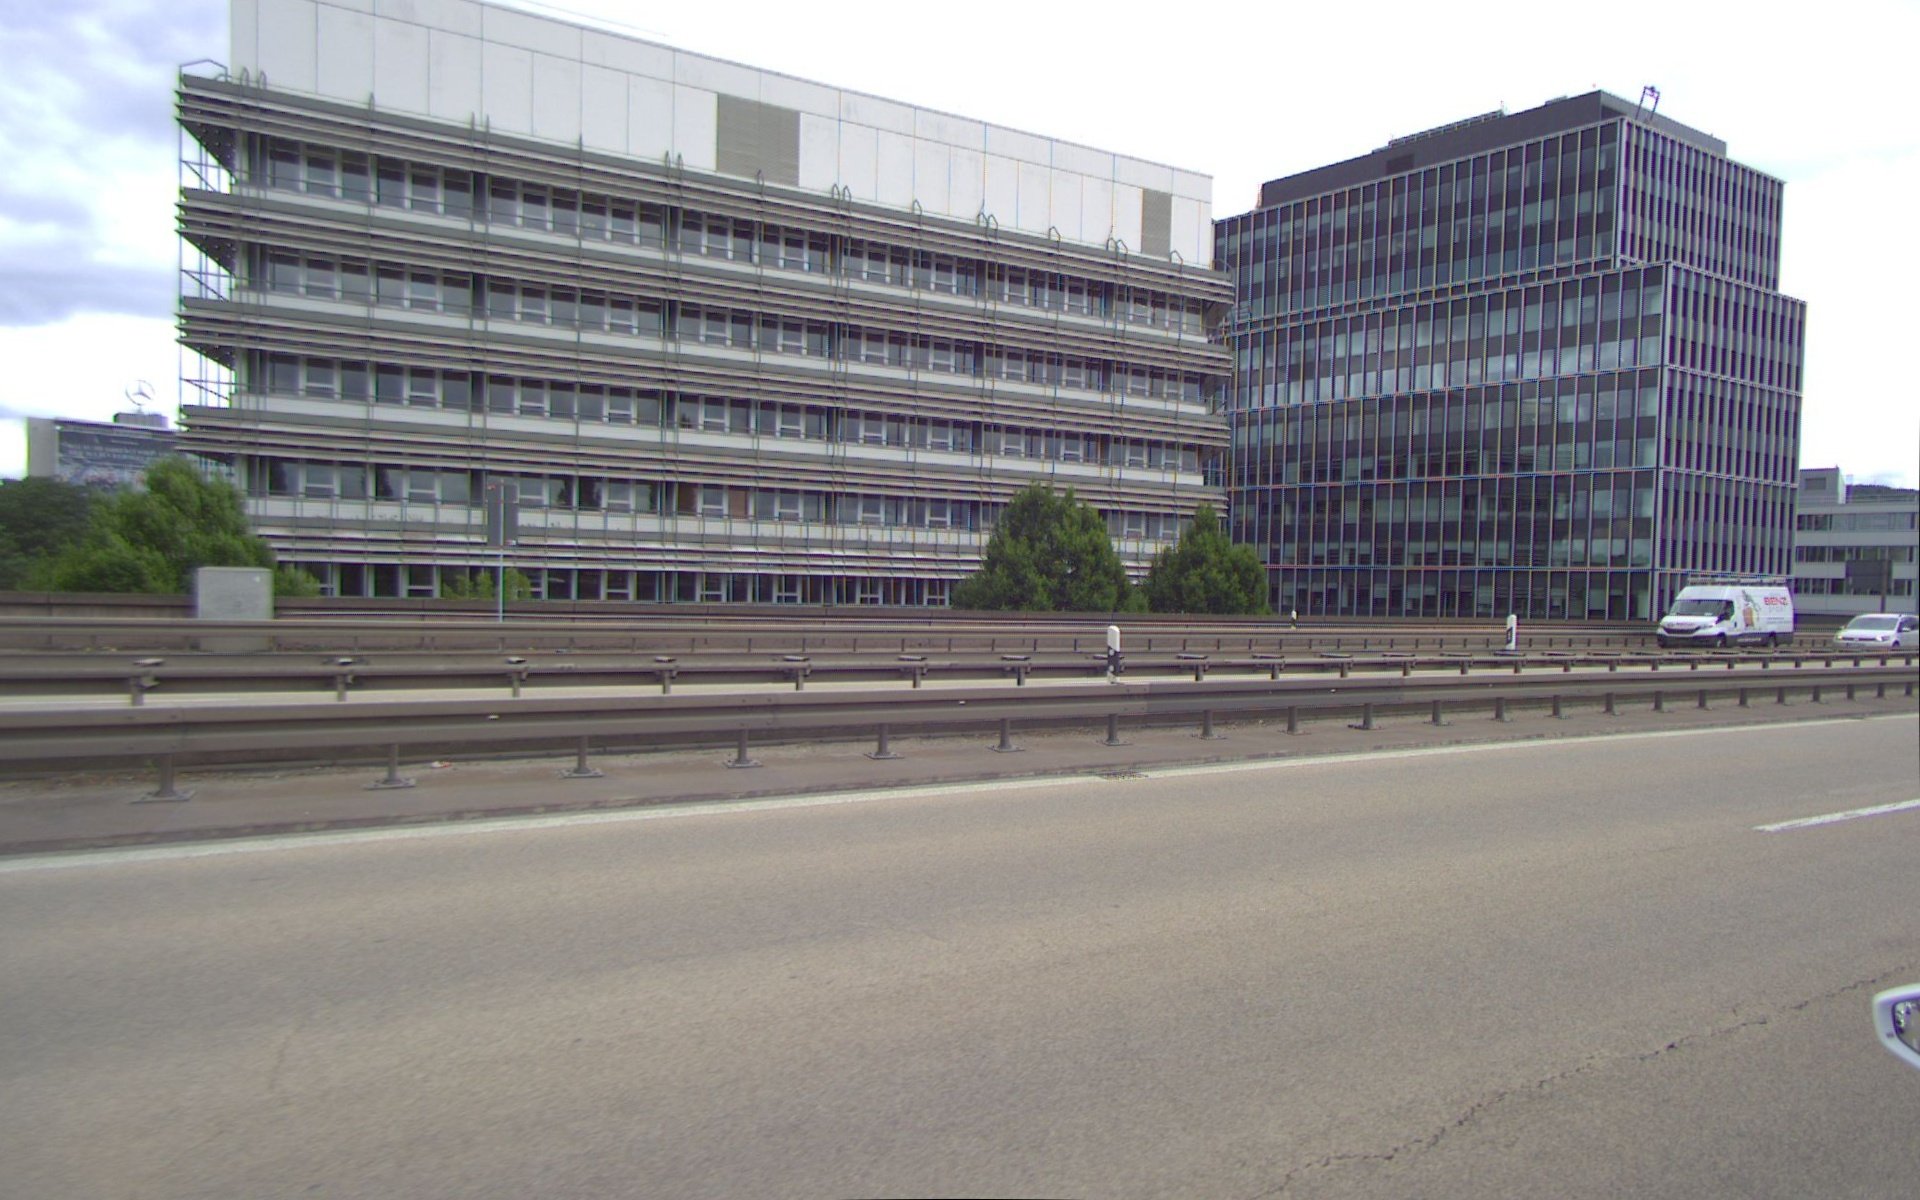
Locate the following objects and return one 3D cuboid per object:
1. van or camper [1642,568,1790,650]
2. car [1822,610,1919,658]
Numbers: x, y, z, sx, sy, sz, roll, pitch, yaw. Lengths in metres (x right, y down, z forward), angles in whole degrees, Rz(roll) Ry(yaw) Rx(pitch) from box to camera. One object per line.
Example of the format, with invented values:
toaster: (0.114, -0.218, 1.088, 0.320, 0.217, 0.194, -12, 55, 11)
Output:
van or camper: (30.123, 0.395, 39.926, 7.034, 3.048, 2.160, 1, 0, -30)
car: (34.381, 1.269, 37.637, 4.259, 1.672, 1.676, 2, 1, -28)
